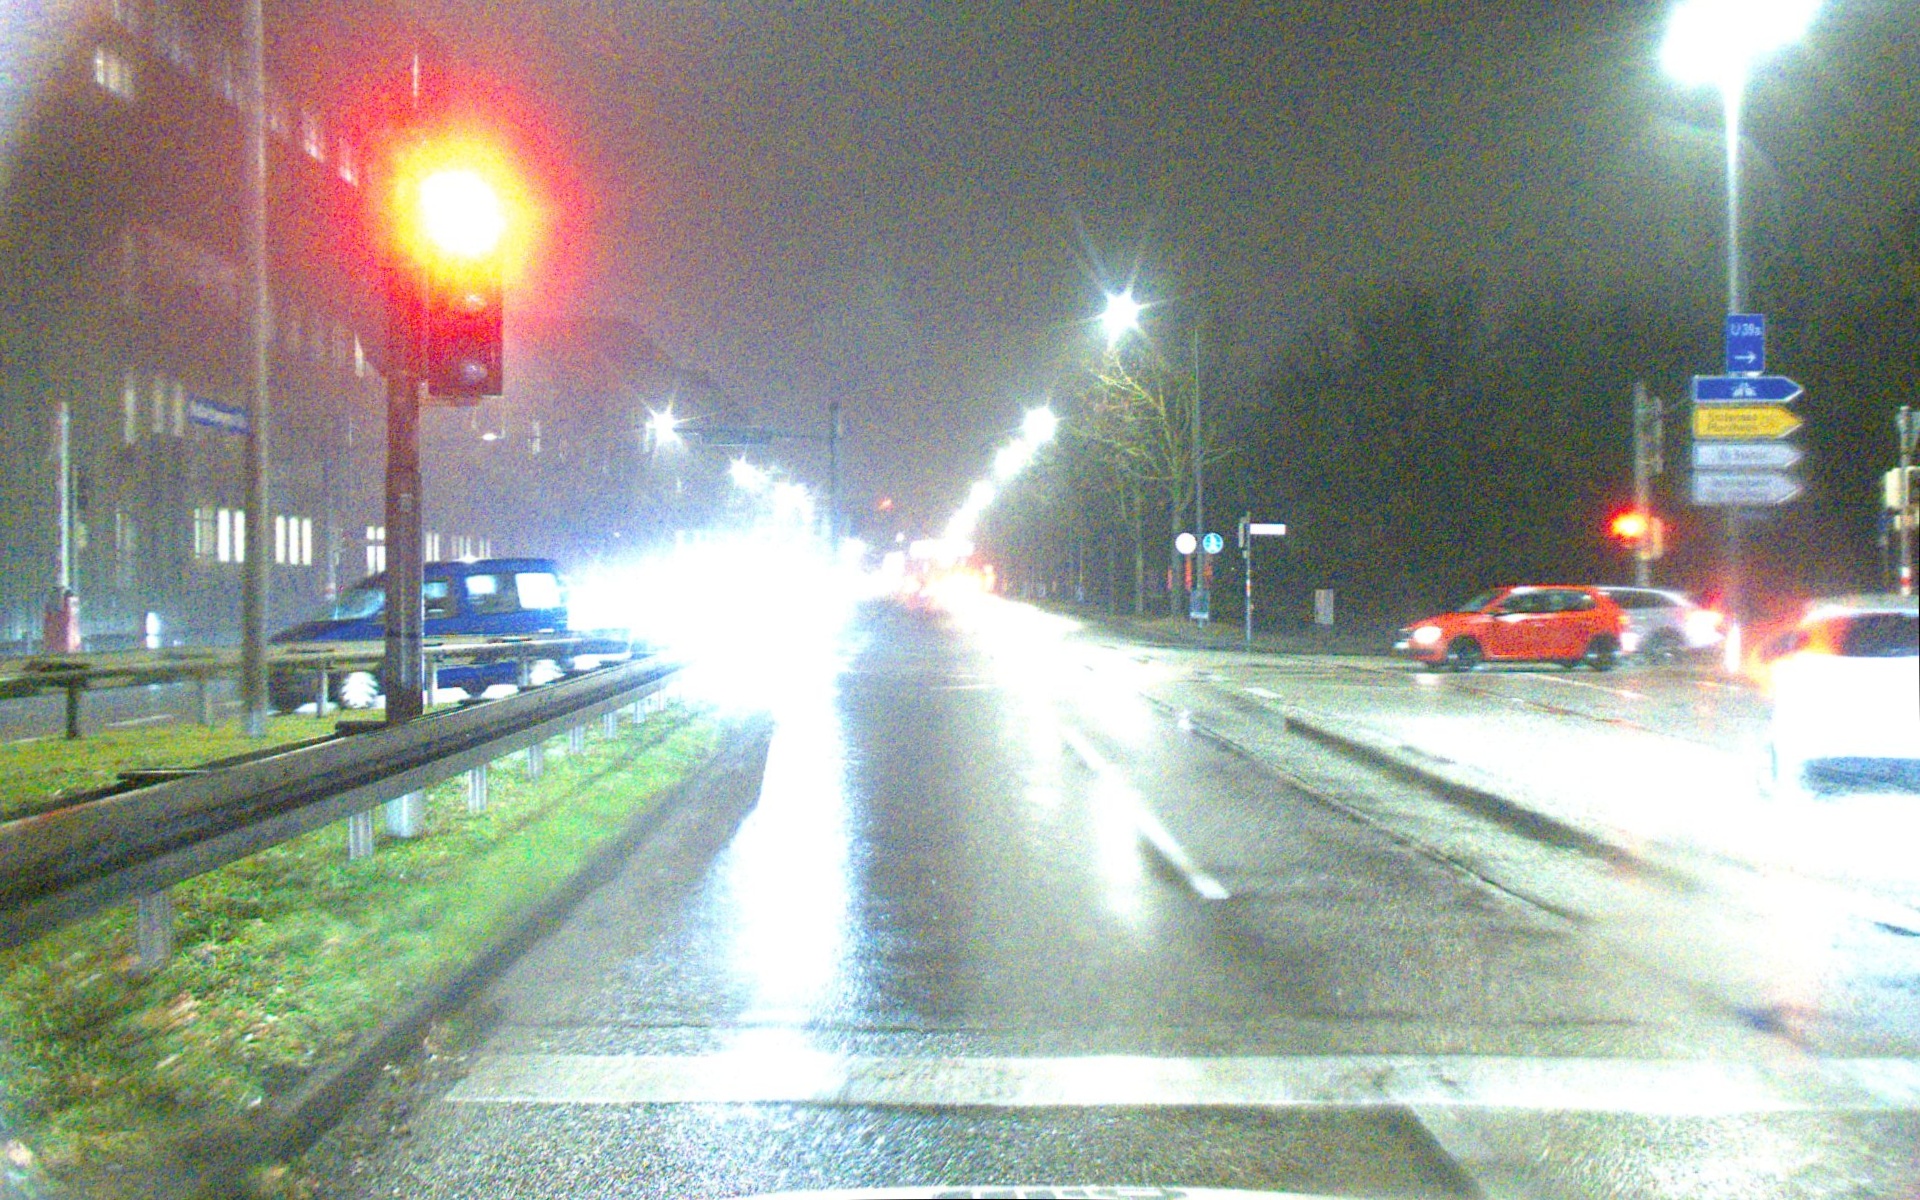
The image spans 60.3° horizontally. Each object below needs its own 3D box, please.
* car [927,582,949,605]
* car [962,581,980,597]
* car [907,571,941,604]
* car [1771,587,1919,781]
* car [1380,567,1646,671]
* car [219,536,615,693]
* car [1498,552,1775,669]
[{"bbox_3d":[-1.882,-0.555,140.740,1.754,1.907,4.625,1,0,-2],"label":"car"},{"bbox_3d":[1.302,-1.237,193.272,1.953,1.790,3.999,1,0,-1],"label":"car"},{"bbox_3d":[-2.400,-0.799,108.860,1.954,2.049,4.629,1,0,-4],"label":"car"},{"bbox_3d":[8.022,0.672,14.413,1.601,1.484,3.591,1,0,25],"label":"car"},{"bbox_3d":[9.624,0.336,29.010,3.985,1.616,1.912,2,-1,0],"label":"car"},{"bbox_3d":[-6.780,0.187,21.039,1.826,1.780,4.480,1,0,41],"label":"car"},{"bbox_3d":[13.360,0.194,32.982,4.807,2.182,2.143,1,0,13],"label":"car"}]
